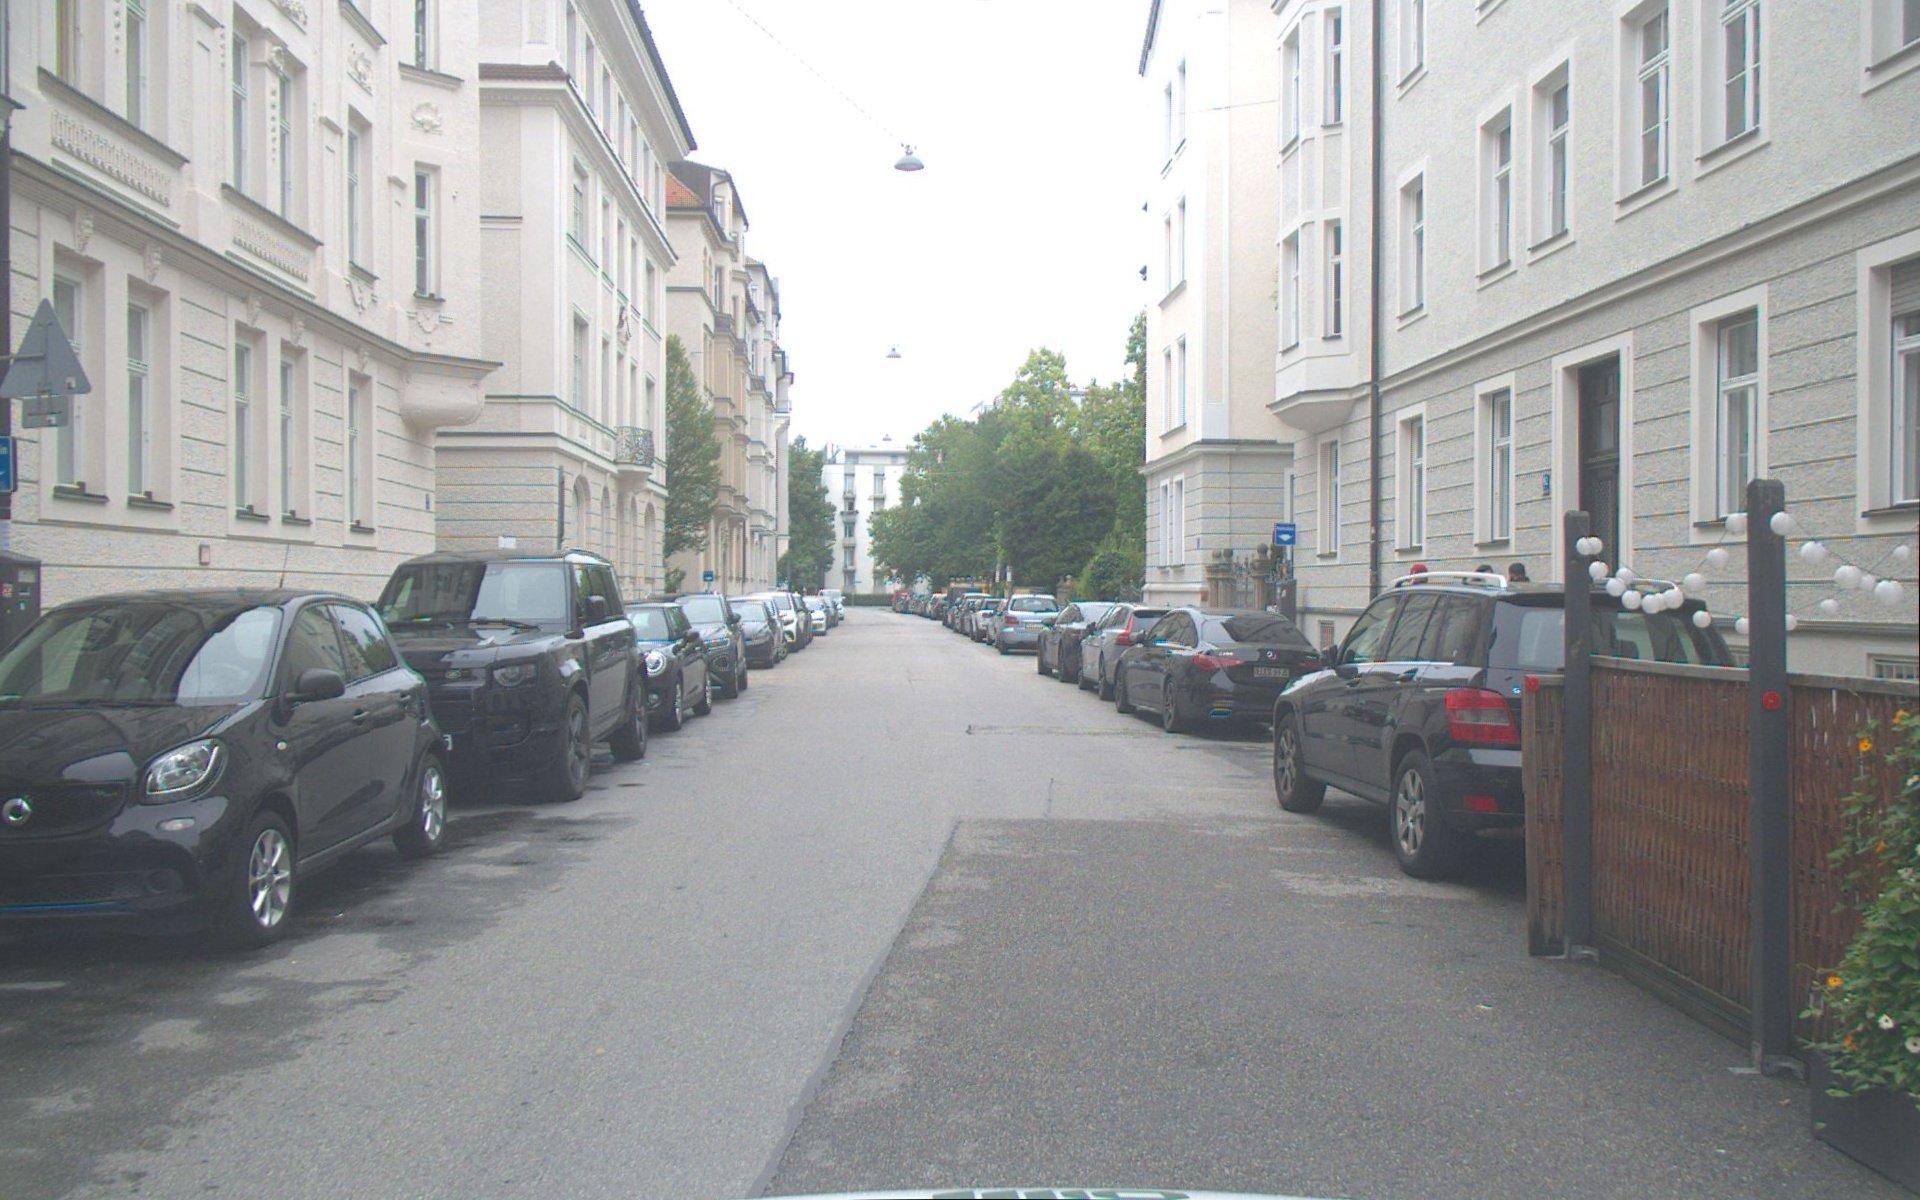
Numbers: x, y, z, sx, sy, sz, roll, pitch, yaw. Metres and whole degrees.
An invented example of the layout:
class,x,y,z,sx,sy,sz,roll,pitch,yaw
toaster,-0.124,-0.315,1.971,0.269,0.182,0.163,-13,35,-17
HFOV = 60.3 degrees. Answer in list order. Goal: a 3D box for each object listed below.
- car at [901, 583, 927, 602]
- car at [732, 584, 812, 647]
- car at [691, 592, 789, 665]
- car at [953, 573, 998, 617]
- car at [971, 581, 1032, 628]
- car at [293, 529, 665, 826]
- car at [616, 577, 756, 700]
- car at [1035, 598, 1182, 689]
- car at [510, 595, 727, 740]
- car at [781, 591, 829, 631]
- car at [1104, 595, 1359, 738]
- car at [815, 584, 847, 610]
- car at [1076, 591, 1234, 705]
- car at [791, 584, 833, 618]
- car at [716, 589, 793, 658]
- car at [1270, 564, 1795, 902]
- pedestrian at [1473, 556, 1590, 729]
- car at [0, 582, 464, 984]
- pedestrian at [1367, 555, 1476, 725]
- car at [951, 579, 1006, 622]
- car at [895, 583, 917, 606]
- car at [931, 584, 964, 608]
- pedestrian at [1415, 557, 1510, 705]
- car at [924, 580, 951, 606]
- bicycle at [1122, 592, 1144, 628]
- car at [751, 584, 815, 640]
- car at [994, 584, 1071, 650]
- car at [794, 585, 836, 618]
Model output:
class,x,y,z,sx,sy,sz,roll,pitch,yaw
car,-3.876,-0.641,139.288,1.803,1.545,3.942,1,0,-7
car,-5.202,0.386,46.297,1.876,1.647,4.569,0,1,-2
car,-4.804,0.583,36.623,1.757,1.440,4.276,-3,1,-3
car,0.666,-0.229,72.990,1.688,1.800,4.411,2,0,-2
car,1.349,0.128,55.778,1.748,1.530,4.063,1,0,-3
car,-3.659,0.477,13.532,1.800,1.927,4.761,-2,1,-3
car,-4.085,0.524,25.200,1.693,1.647,4.118,-2,1,-4
car,2.683,0.748,30.974,1.954,1.483,4.708,-1,1,-5
car,-3.965,0.718,19.886,1.799,1.418,4.243,-2,1,-2
car,-6.274,0.440,67.180,1.800,1.459,4.241,-2,1,-4
car,3.144,0.713,20.291,1.801,1.423,4.967,1,1,-6
car,-7.987,-0.227,102.747,1.800,1.463,4.273,-3,1,-2
car,2.934,0.674,25.802,1.725,1.511,4.419,2,1,-2
car,-6.810,0.029,76.649,1.797,1.459,4.550,-2,1,-4
car,-5.088,0.541,41.307,1.748,1.568,4.252,-3,1,-6
car,3.296,0.639,10.463,1.764,1.704,4.188,0,1,-2
pedestrian,6.203,0.444,18.021,0.865,1.818,1.110,0,0,-2
car,-3.732,0.701,8.212,1.584,1.539,3.530,-1,1,-3
pedestrian,5.146,0.432,18.519,0.865,1.843,1.110,0,0,-4
car,0.738,-0.012,68.081,1.716,1.638,4.418,1,1,-6
car,-4.874,-0.494,150.058,1.799,1.960,4.004,2,1,-1
car,-0.804,-0.241,100.788,1.802,1.438,4.340,1,0,-3
pedestrian,6.430,0.380,21.204,0.865,1.845,1.111,0,1,-2
car,-1.502,-0.460,110.689,1.484,1.690,3.670,1,0,-5
bicycle,5.588,0.315,53.428,0.425,1.145,1.881,0,1,-2
car,-5.513,0.330,51.883,1.800,1.647,4.242,0,1,-3
car,1.913,0.428,45.000,1.785,1.596,4.400,2,1,-1
car,-7.169,0.031,82.097,1.800,1.460,4.243,-3,1,-2
